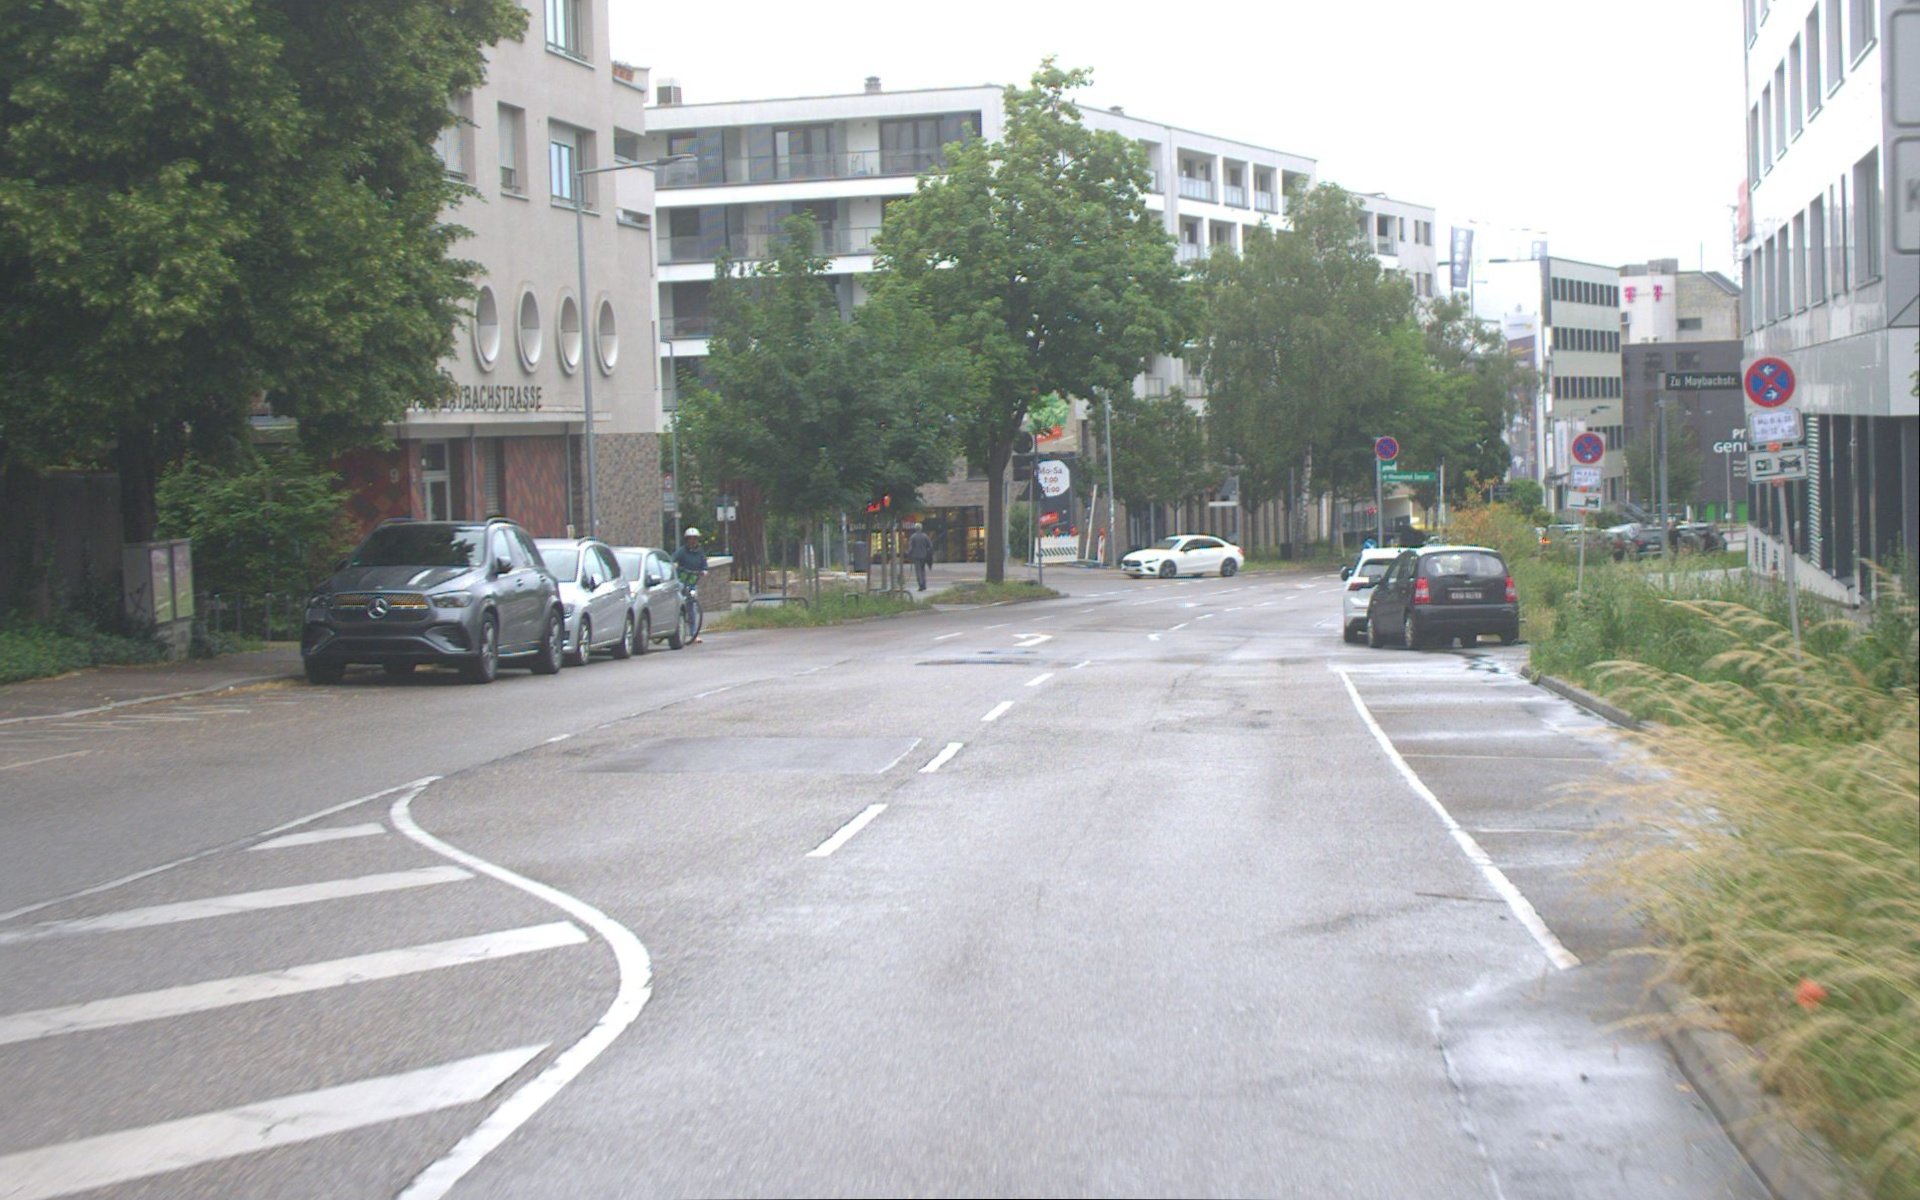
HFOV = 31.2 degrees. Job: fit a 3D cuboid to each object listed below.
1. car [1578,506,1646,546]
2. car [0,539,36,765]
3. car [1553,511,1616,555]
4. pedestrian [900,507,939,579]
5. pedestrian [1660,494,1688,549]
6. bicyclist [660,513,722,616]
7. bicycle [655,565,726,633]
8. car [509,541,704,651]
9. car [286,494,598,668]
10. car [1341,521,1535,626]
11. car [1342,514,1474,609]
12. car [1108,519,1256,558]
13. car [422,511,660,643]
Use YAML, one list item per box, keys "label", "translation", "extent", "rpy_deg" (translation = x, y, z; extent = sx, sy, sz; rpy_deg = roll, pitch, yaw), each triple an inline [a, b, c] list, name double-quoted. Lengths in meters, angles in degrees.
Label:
- label: "car"
  translation: [24.513, -2.784, 129.187]
  extent: [1.809, 1.479, 4.491]
  rpy_deg: [0, 1, 20]
- label: "car"
  translation: [-7.397, 0.375, 20.981]
  extent: [1.994, 1.465, 4.185]
  rpy_deg: [0, 1, 6]
- label: "car"
  translation: [22.580, -2.426, 124.275]
  extent: [1.547, 1.473, 3.657]
  rpy_deg: [0, 2, 21]
- label: "pedestrian"
  translation: [-1.122, -1.591, 95.964]
  extent: [1.055, 2.007, 1.100]
  rpy_deg: [-1, 1, -1]
- label: "pedestrian"
  translation: [23.463, -2.582, 112.953]
  extent: [0.823, 1.790, 1.207]
  rpy_deg: [-2, 1, 15]
- label: "bicyclist"
  translation: [-4.045, -0.537, 51.828]
  extent: [0.801, 1.517, 1.202]
  rpy_deg: [-1, 1, 1]
- label: "bicycle"
  translation: [-4.049, -0.023, 51.768]
  extent: [0.802, 0.975, 2.254]
  rpy_deg: [-1, 1, 2]
- label: "car"
  translation: [-4.887, -0.087, 48.080]
  extent: [1.880, 1.458, 3.846]
  rpy_deg: [0, 1, 7]
- label: "car"
  translation: [-5.638, -0.245, 38.192]
  extent: [1.994, 1.780, 5.409]
  rpy_deg: [0, 1, 7]
- label: "car"
  translation: [7.001, -0.424, 50.746]
  extent: [2.044, 1.453, 4.056]
  rpy_deg: [-1, 1, -4]
- label: "car"
  translation: [7.249, -0.653, 55.795]
  extent: [2.040, 1.459, 4.502]
  rpy_deg: [0, 1, 7]
- label: "car"
  translation: [7.539, -2.089, 116.568]
  extent: [4.687, 1.288, 2.000]
  rpy_deg: [-1, 1, -30]
- label: "car"
  translation: [-5.273, -0.320, 43.865]
  extent: [1.990, 1.587, 4.489]
  rpy_deg: [0, 1, 7]
